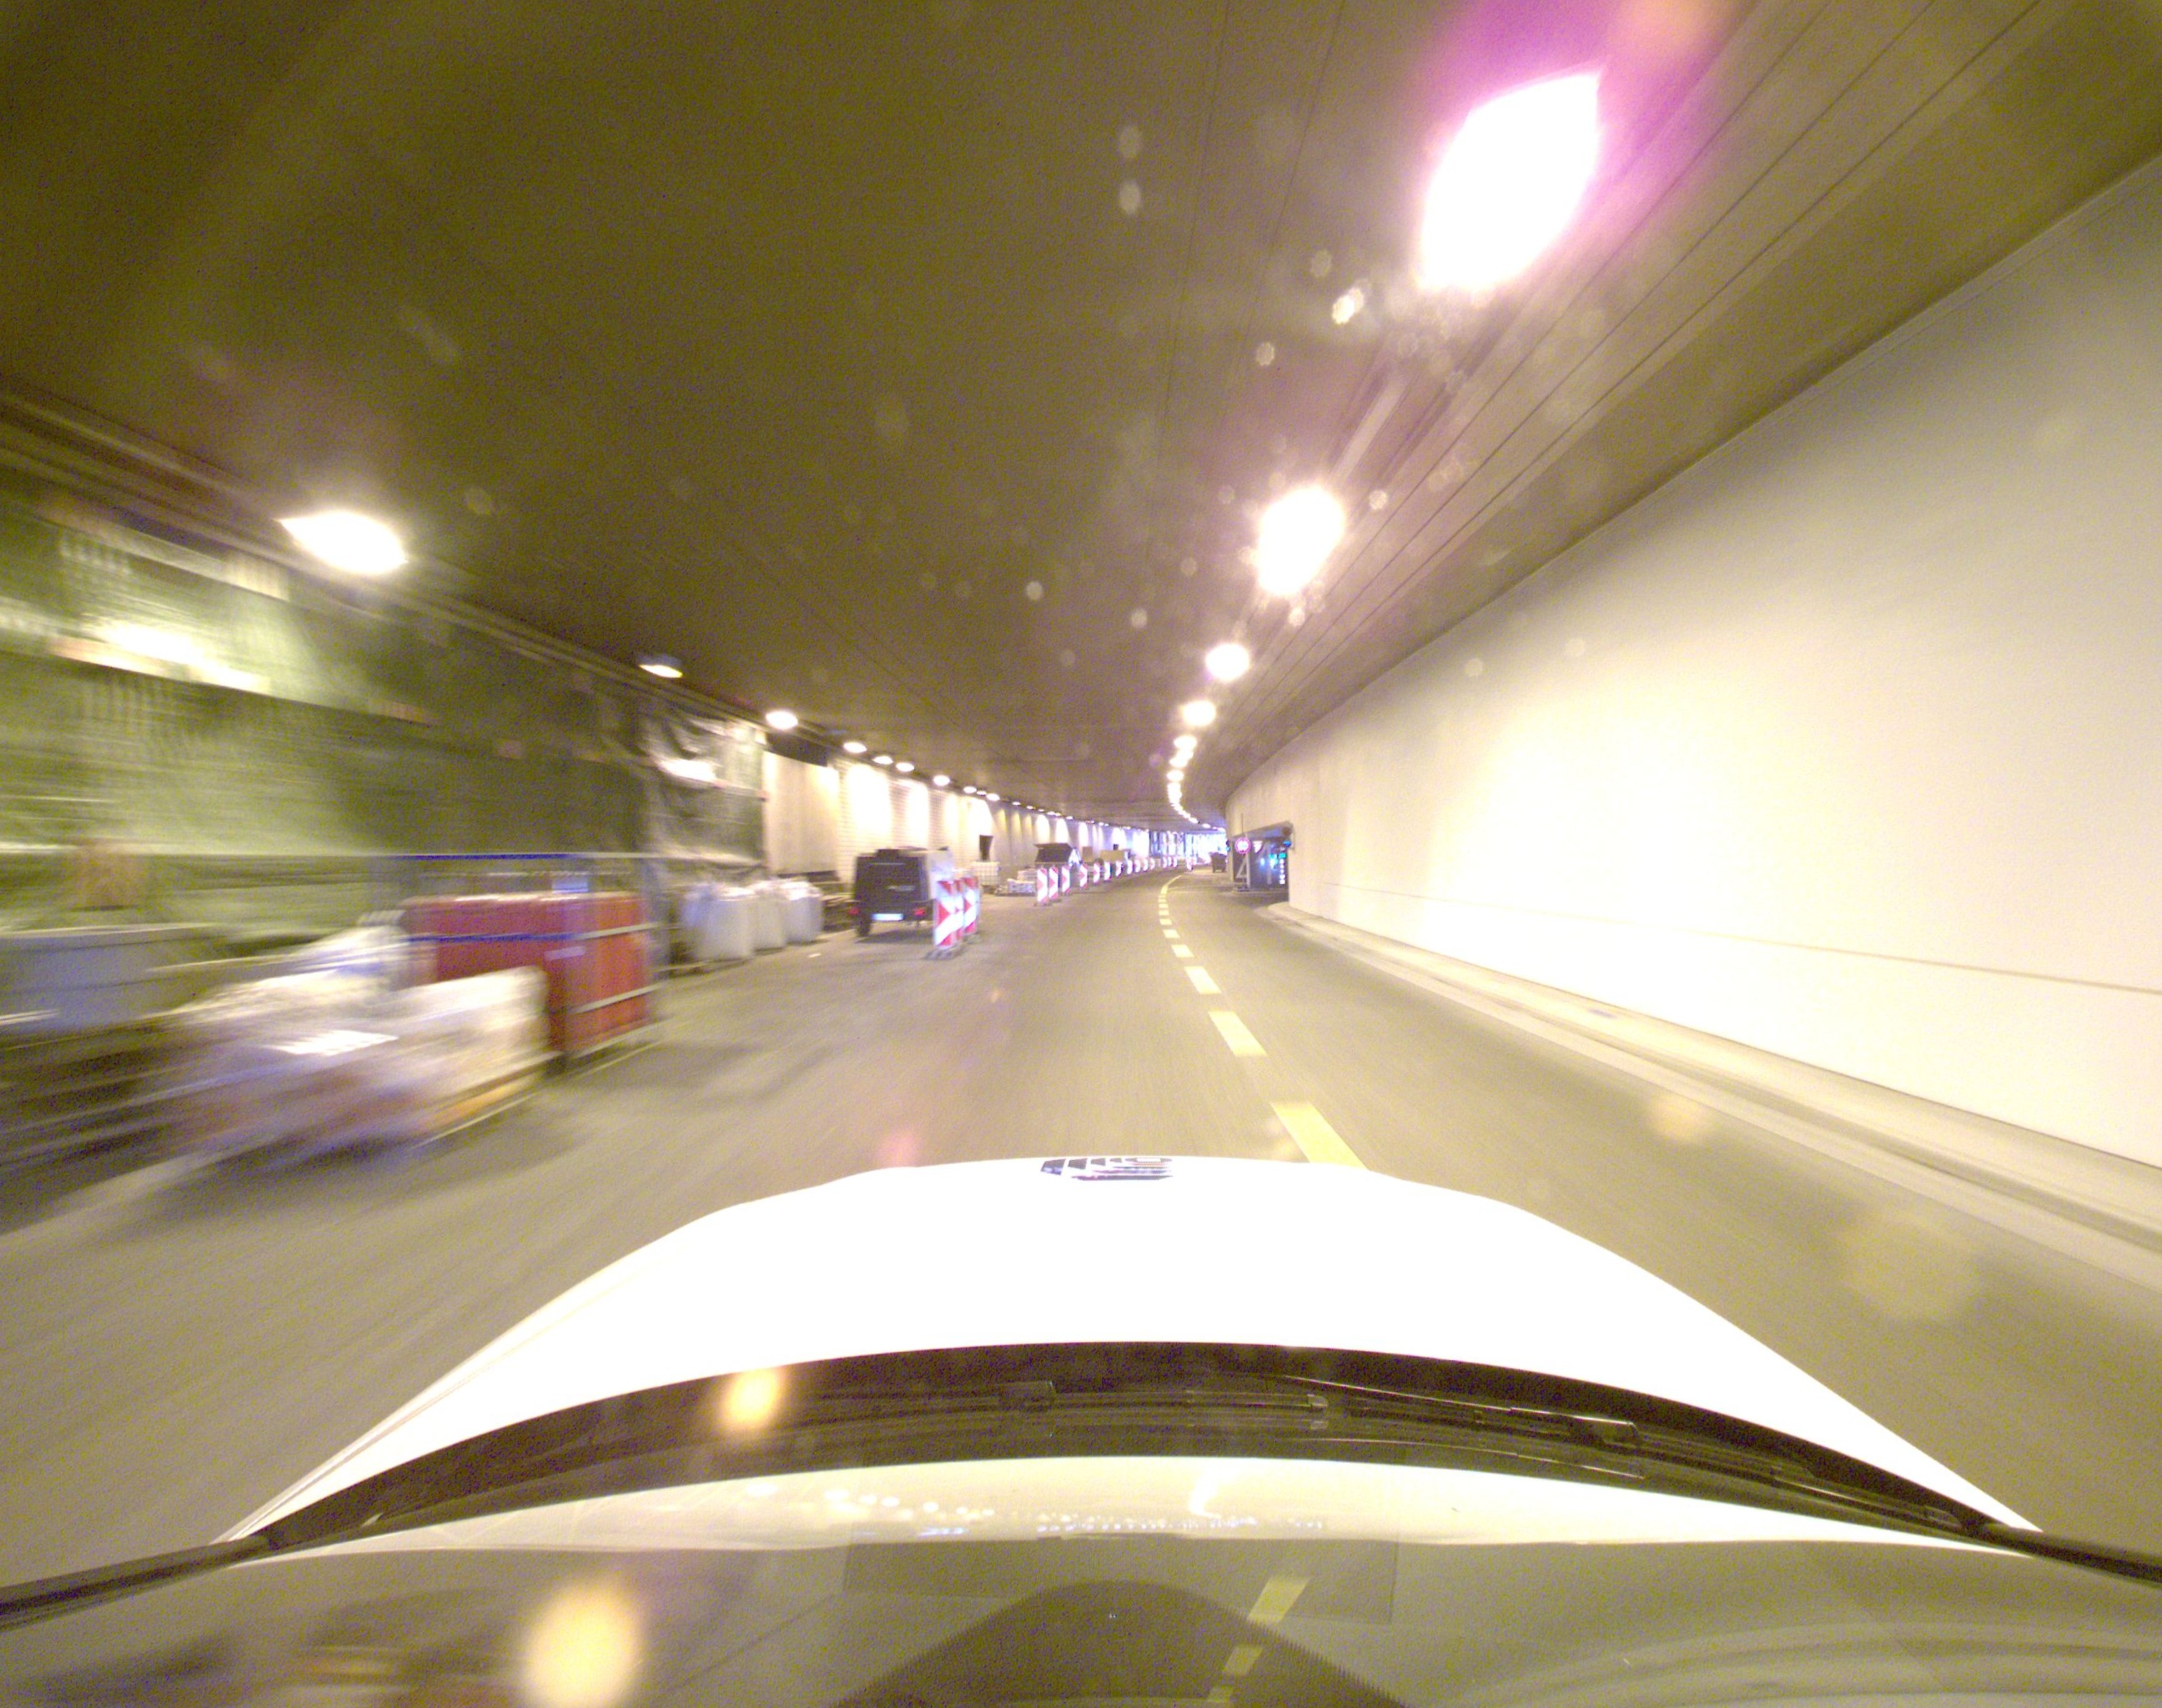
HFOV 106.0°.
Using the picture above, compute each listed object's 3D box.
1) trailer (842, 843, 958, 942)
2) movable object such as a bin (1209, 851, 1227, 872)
[{"bbox_3d":[-3.536,0.718,16.380,1.574,1.798,2.941,0,-1,2],"label":"trailer"},{"bbox_3d":[10.211,0.556,60.687,1.187,1.460,1.610,-3,-1,10],"label":"movable object such as a bin"}]
